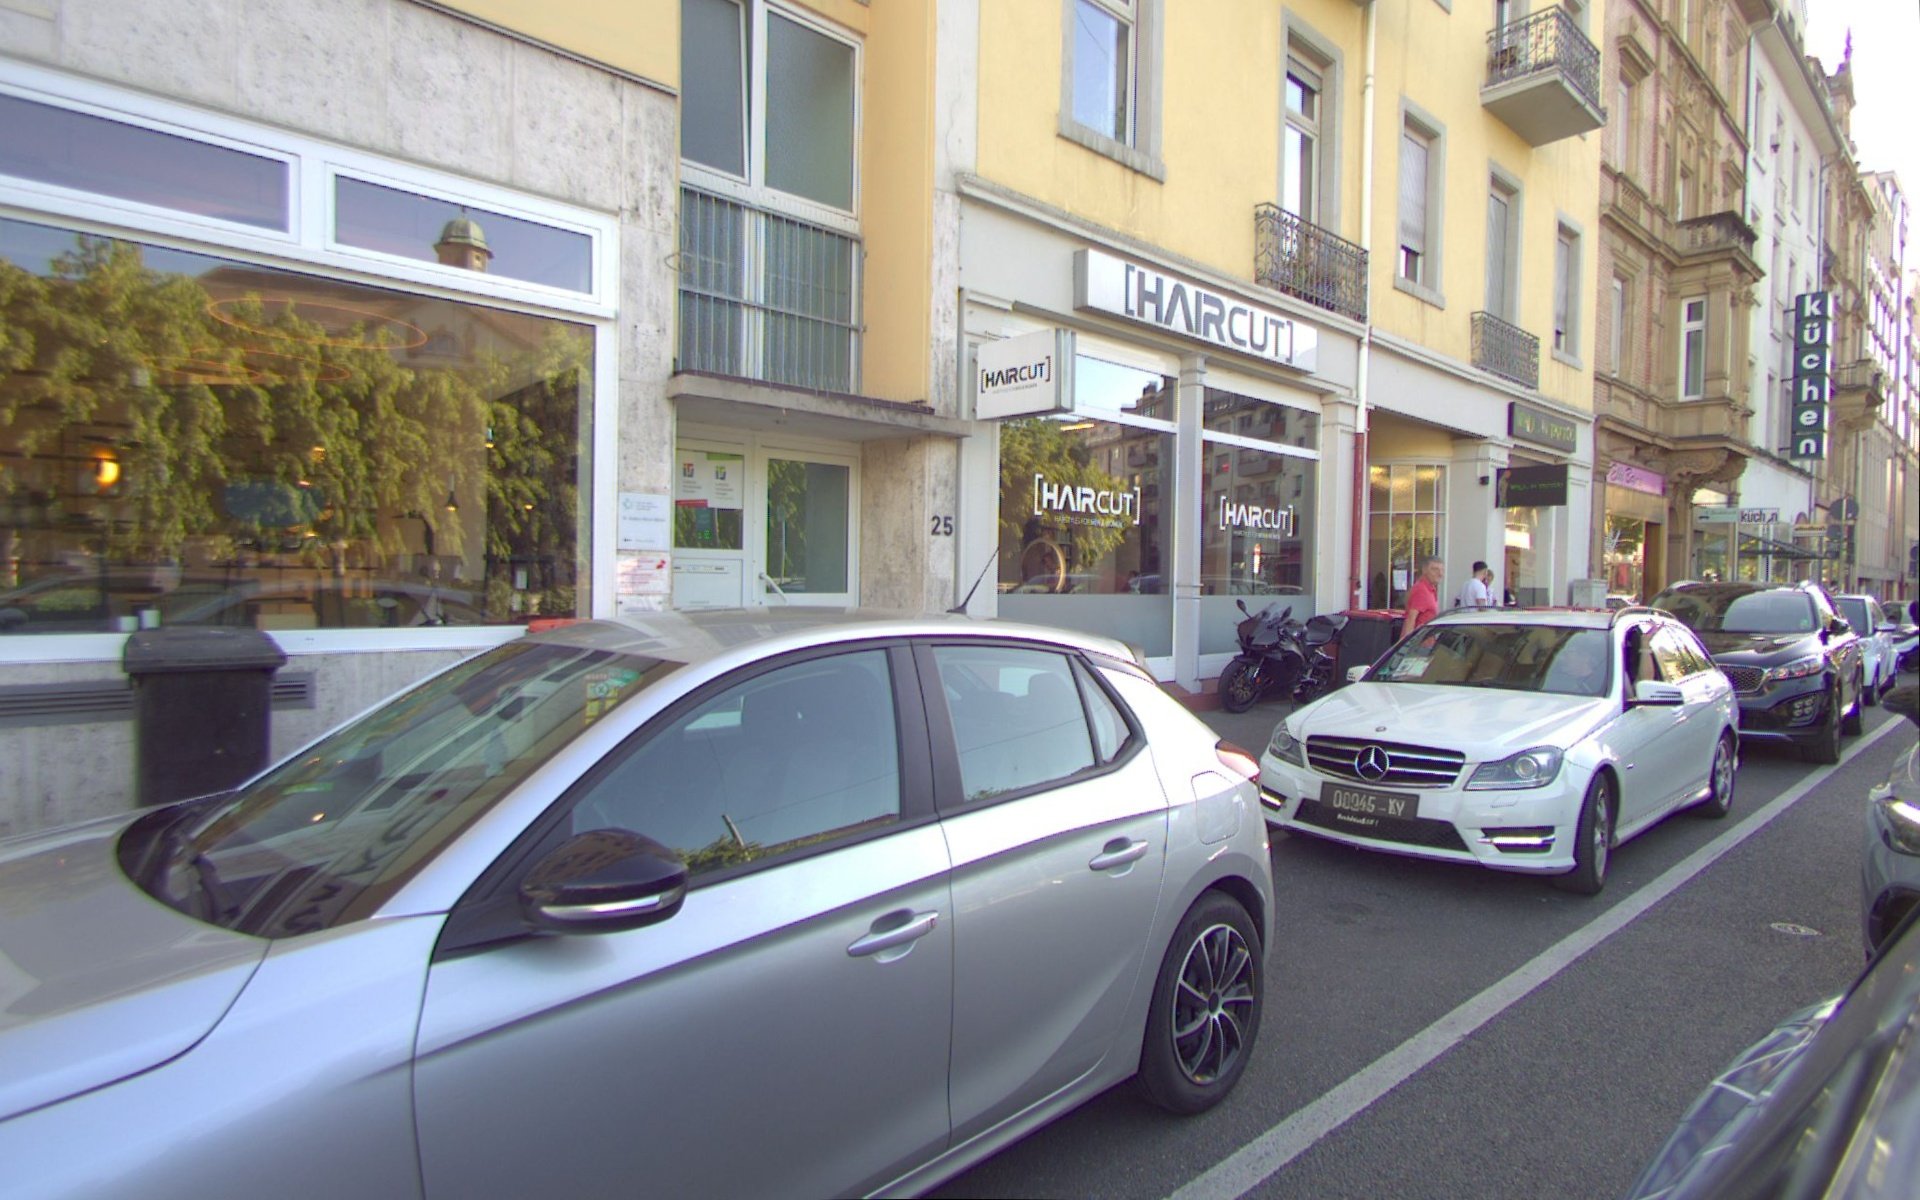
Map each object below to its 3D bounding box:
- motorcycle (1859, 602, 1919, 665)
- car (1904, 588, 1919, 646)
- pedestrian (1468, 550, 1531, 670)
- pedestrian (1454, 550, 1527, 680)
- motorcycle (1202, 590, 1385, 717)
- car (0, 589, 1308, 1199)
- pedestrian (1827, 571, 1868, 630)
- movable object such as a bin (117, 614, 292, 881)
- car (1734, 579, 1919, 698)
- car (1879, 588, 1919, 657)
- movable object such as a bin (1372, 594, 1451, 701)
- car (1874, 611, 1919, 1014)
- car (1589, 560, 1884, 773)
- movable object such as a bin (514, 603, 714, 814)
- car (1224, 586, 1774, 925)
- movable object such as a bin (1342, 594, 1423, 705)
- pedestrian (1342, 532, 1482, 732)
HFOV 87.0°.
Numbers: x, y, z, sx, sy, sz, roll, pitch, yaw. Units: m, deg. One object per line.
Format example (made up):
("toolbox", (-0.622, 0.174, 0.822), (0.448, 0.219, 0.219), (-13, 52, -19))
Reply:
("motorcycle", (19.543, 0.671, 20.732), (1.514, 1.248, 0.771), (0, 0, 1))
("car", (26.656, 0.434, 27.076), (3.931, 1.504, 1.713), (0, 1, -42))
("pedestrian", (7.571, 0.127, 14.195), (0.631, 1.637, 0.572), (0, 0, -40))
("pedestrian", (6.937, 0.183, 13.230), (0.689, 1.637, 0.641), (0, 1, -42))
("motorcycle", (3.577, 0.505, 10.740), (2.208, 1.179, 0.773), (0, 4, -41))
("car", (-0.794, 0.690, 2.553), (3.643, 1.415, 1.651), (0, 1, -43))
("pedestrian", (25.237, 0.004, 28.765), (0.750, 1.637, 0.794), (0, 1, -43))
("movable object such as a bin", (-3.430, 0.601, 4.582), (0.591, 1.041, 0.812), (0, 1, -40))
("car", (13.039, 0.500, 15.171), (2.965, 1.587, 1.695), (0, 1, -40))
("car", (22.509, 0.490, 23.228), (3.931, 1.504, 1.713), (0, 1, -42))
("movable object such as a bin", (5.402, 0.545, 12.103), (0.633, 1.222, 0.647), (0, 0, -40))
("car", (5.466, 0.759, 4.386), (4.183, 1.396, 1.846), (0, 1, -42))
("car", (8.165, 0.505, 10.454), (1.853, 1.719, 4.623), (1, 1, 45))
("movable object such as a bin", (-1.987, 0.562, 5.816), (0.878, 1.066, 0.752), (0, 1, -40))
("car", (3.766, 0.664, 6.631), (4.519, 1.480, 1.757), (0, 1, -42))
("movable object such as a bin", (4.892, 0.552, 11.714), (0.633, 1.222, 0.647), (0, 0, -40))
("pedestrian", (4.419, 0.263, 9.894), (0.865, 1.805, 0.993), (6, 5, 44))
